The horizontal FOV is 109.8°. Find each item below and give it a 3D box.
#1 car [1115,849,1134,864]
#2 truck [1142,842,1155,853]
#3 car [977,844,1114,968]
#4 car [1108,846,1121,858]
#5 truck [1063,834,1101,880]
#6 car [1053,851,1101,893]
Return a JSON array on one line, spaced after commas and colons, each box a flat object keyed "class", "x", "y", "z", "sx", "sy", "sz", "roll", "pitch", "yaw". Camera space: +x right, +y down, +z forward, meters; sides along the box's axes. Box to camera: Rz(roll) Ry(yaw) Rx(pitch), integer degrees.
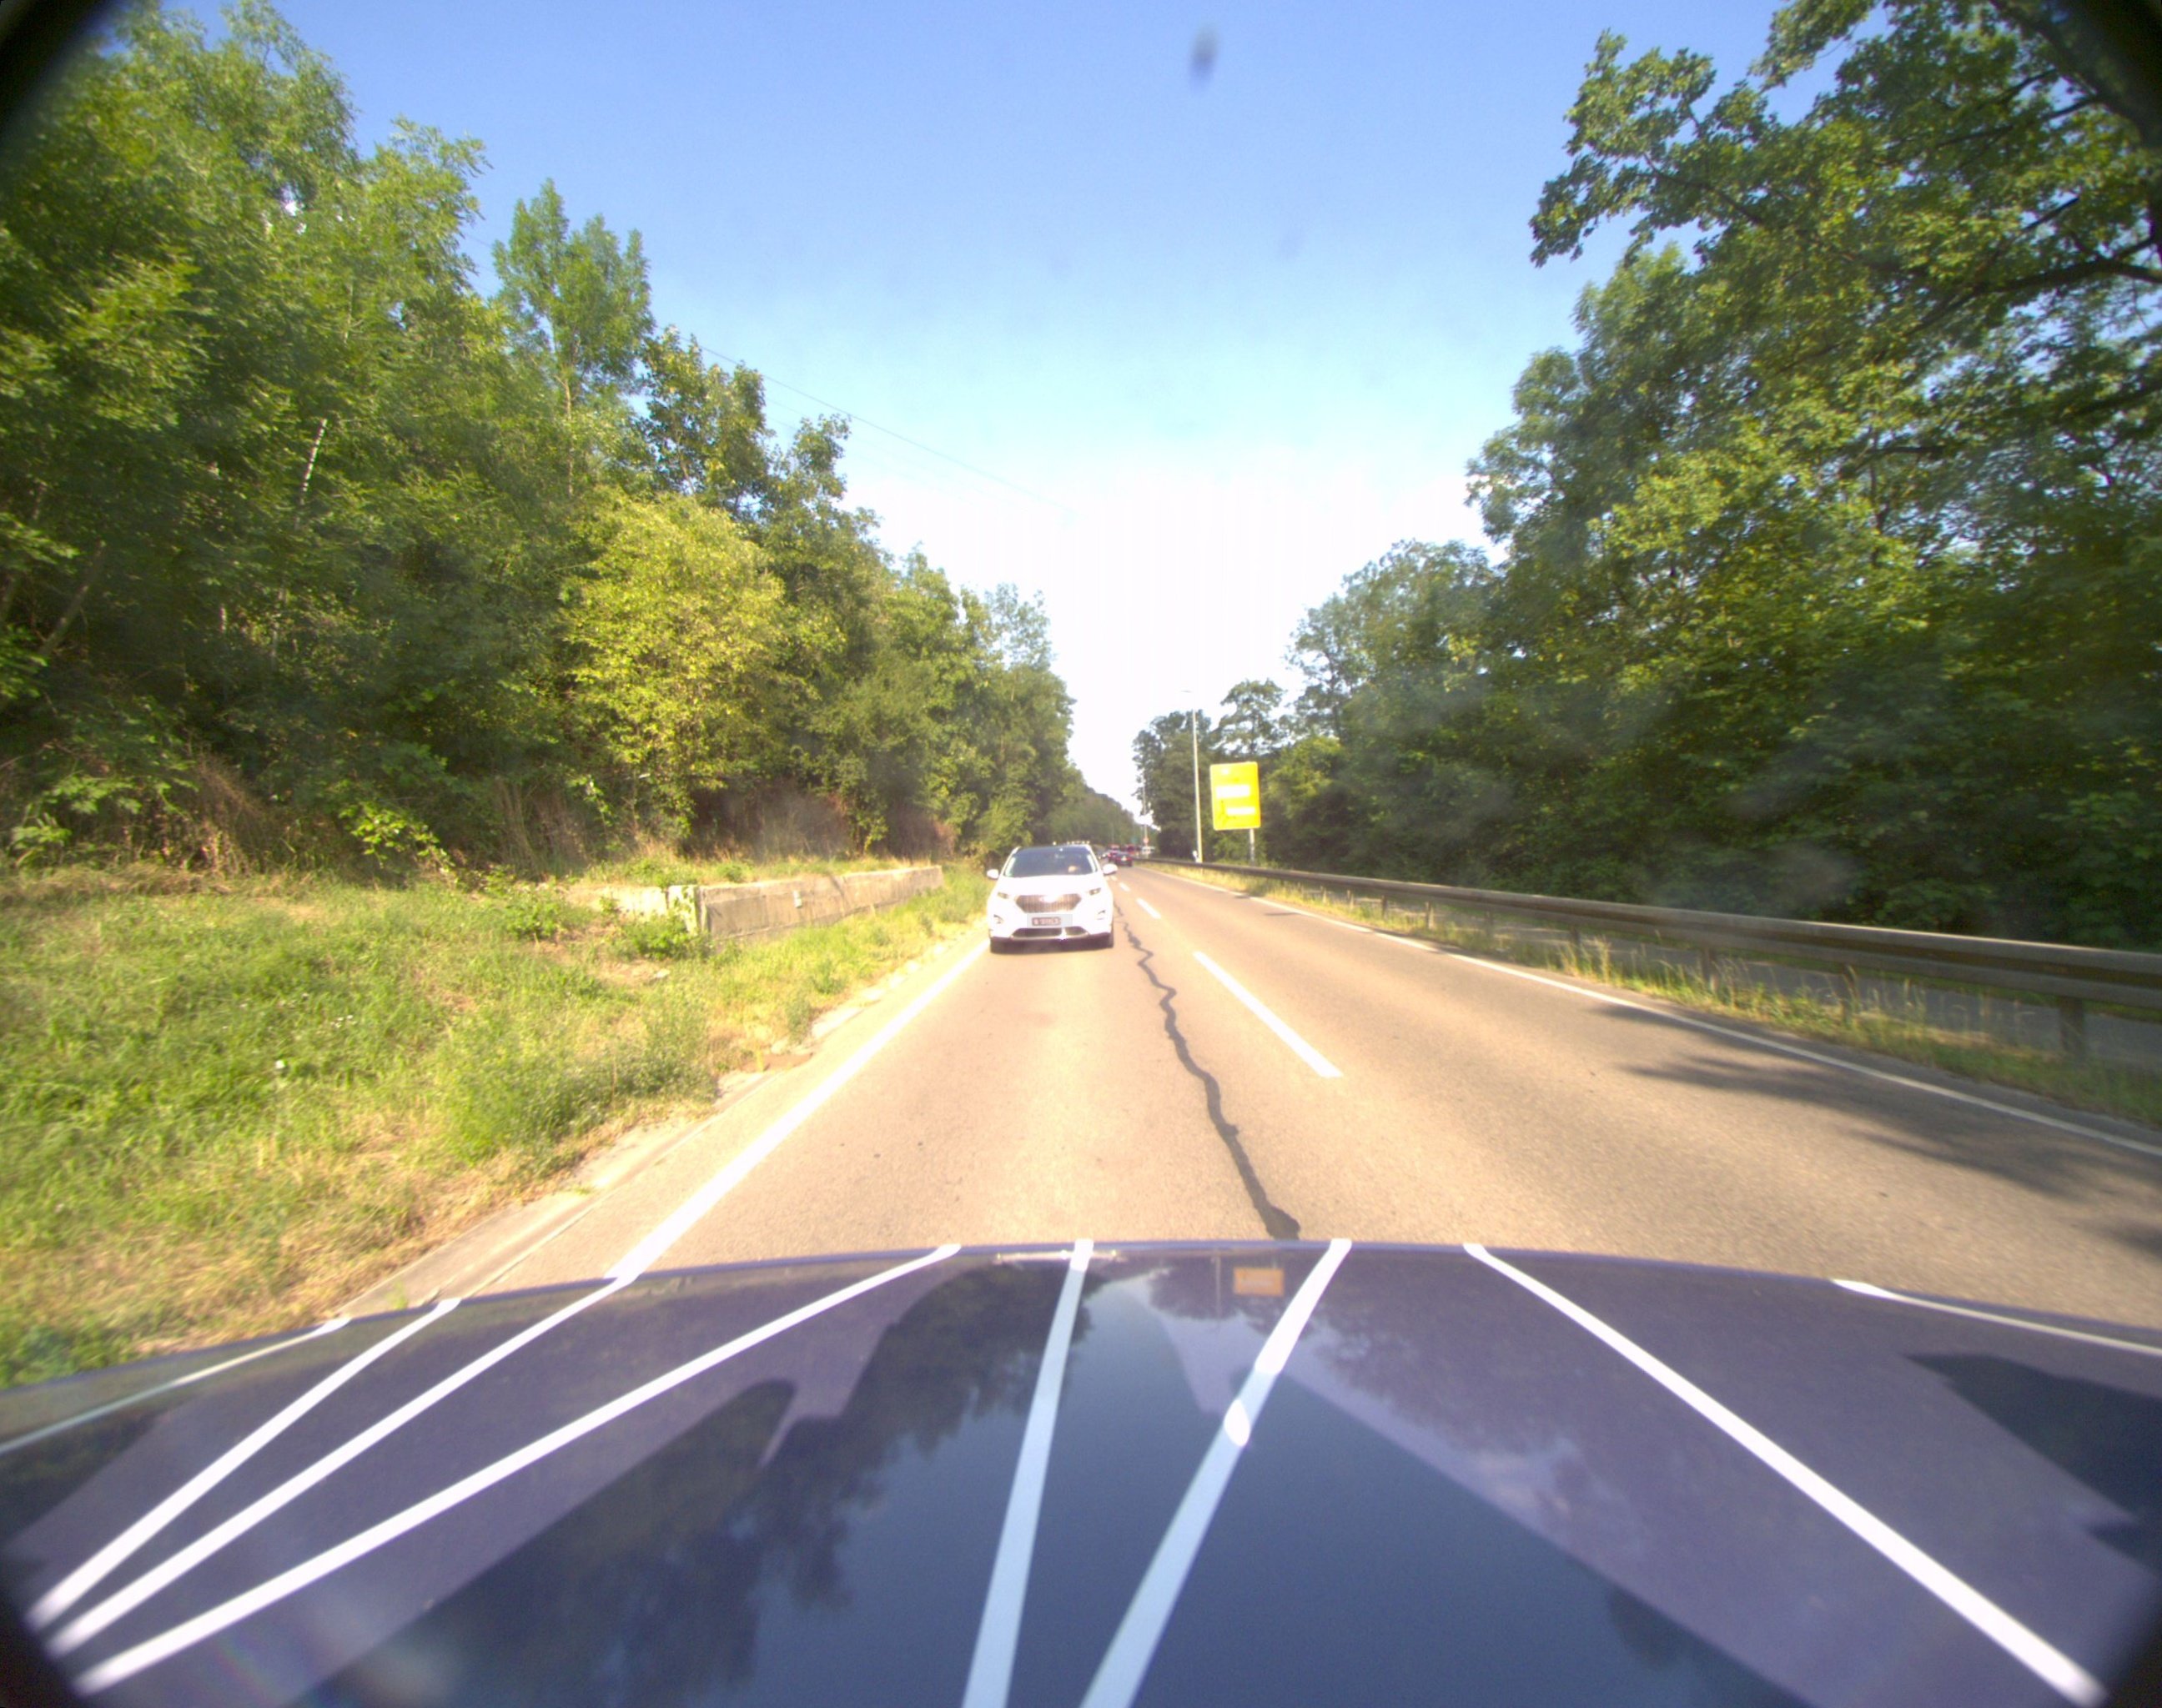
[{"class": "car", "x": 4.305, "y": 0.240, "z": 75.593, "sx": 1.696, "sy": 1.412, "sz": 4.141, "roll": -2, "pitch": 1, "yaw": 1}, {"class": "truck", "x": 16.140, "y": -1.492, "z": 182.269, "sx": 2.061, "sy": 2.371, "sz": 5.877, "roll": -3, "pitch": 1, "yaw": 14}, {"class": "car", "x": -0.481, "y": 0.728, "z": 12.889, "sx": 1.894, "sy": 1.691, "sz": 4.136, "roll": -2, "pitch": 1, "yaw": 1}, {"class": "car", "x": 5.037, "y": -0.348, "z": 114.731, "sx": 1.752, "sy": 1.707, "sz": 4.221, "roll": -2, "pitch": 1, "yaw": 2}, {"class": "truck", "x": 0.079, "y": 0.153, "z": 42.396, "sx": 1.894, "sy": 2.334, "sz": 5.273, "roll": -3, "pitch": 1, "yaw": 1}, {"class": "car", "x": -0.129, "y": 0.652, "z": 30.556, "sx": 1.704, "sy": 1.477, "sz": 4.136, "roll": -3, "pitch": 0, "yaw": 1}]
